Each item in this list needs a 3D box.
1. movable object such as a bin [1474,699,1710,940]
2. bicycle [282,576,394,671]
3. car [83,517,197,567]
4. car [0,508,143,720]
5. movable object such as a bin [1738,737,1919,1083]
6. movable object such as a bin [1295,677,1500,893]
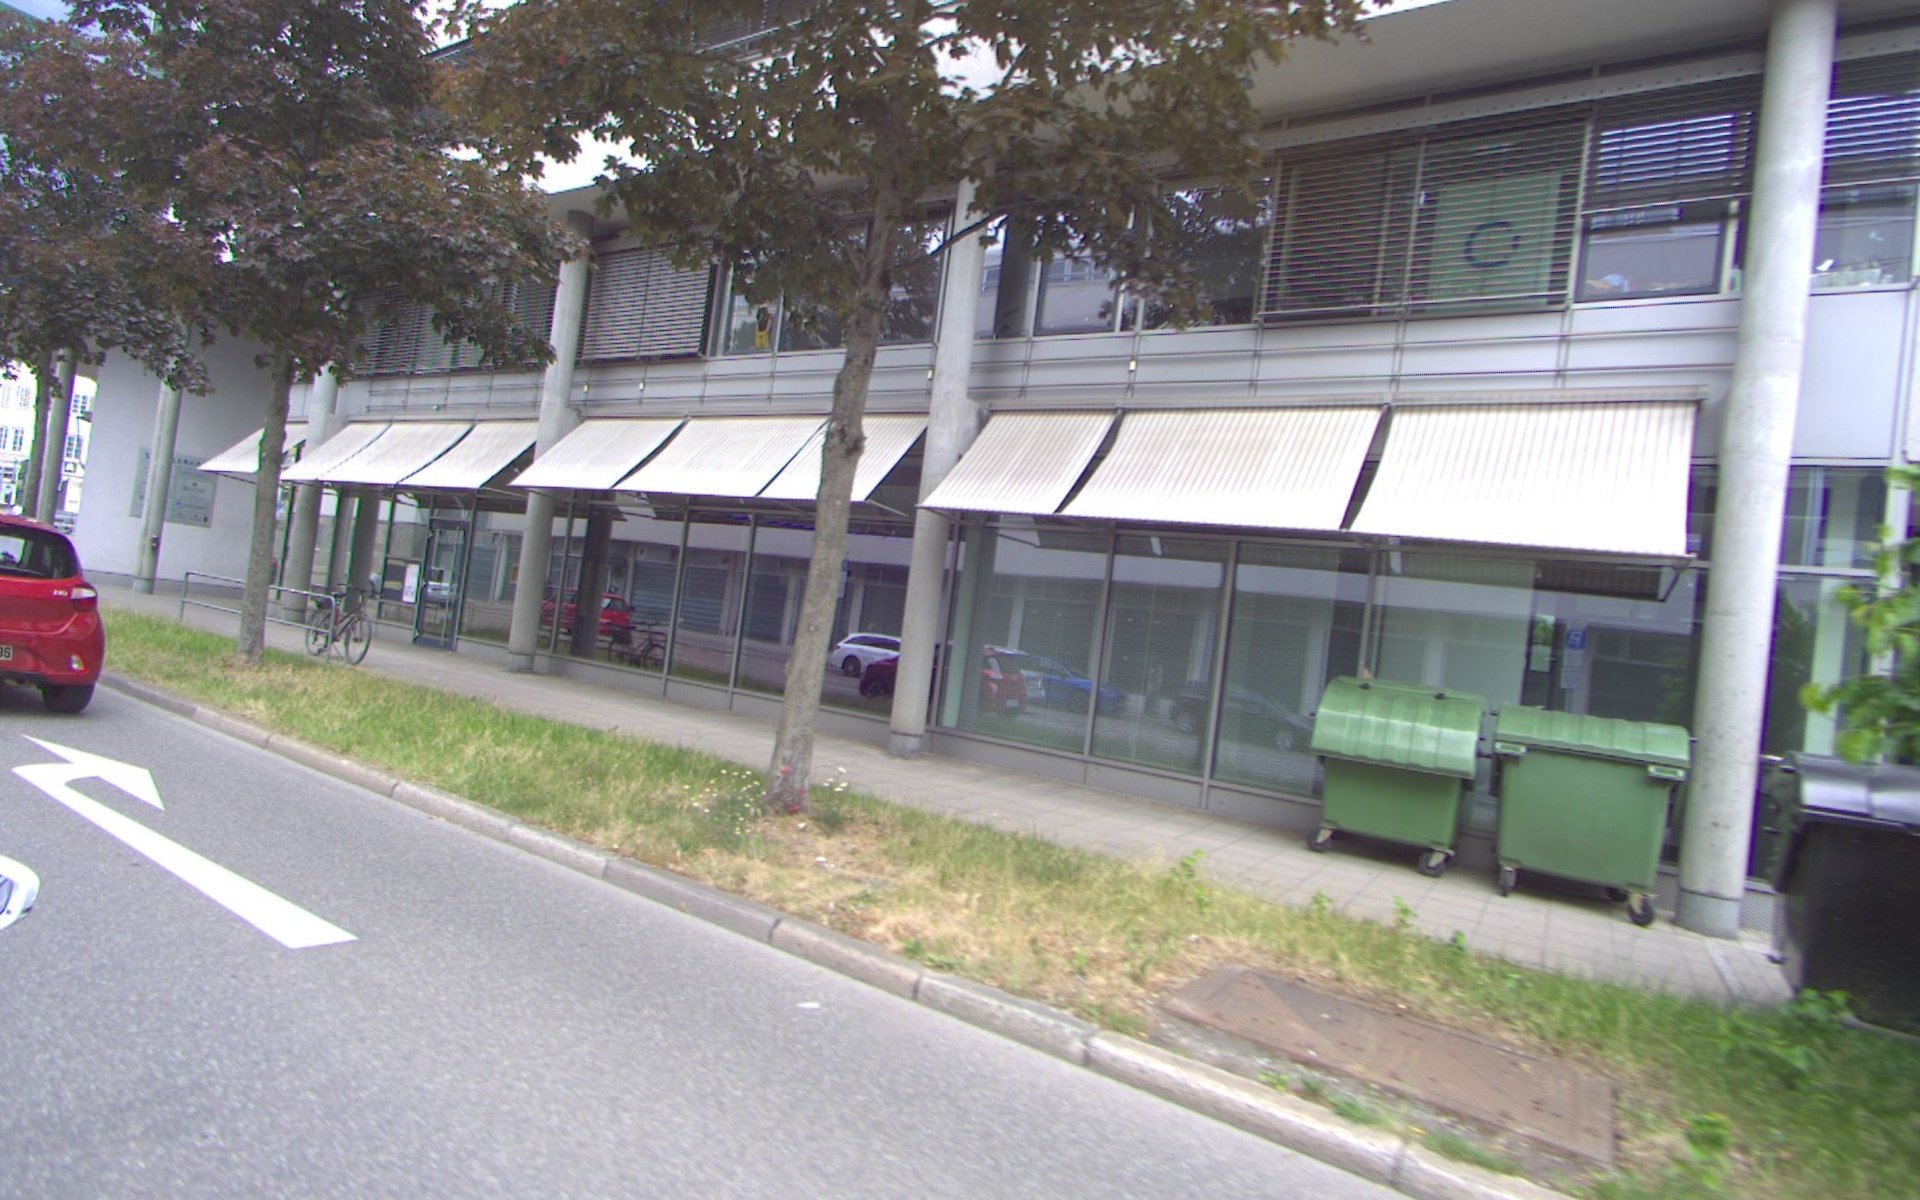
[{"bbox_3d":[4.846,1.604,7.806,1.311,1.483,1.123,7,0,31],"label":"movable object such as a bin"},{"bbox_3d":[-8.868,0.317,14.321,1.993,1.098,0.362,6,-2,31],"label":"bicycle"},{"bbox_3d":[-38.440,-2.685,47.205,1.903,1.689,3.782,6,-2,43],"label":"car"},{"bbox_3d":[-8.533,-0.117,8.101,3.934,1.467,1.703,7,-4,32],"label":"car"},{"bbox_3d":[4.954,1.560,5.051,1.389,1.483,1.129,7,0,31],"label":"movable object such as a bin"},{"bbox_3d":[3.708,1.481,8.499,1.311,1.483,1.099,7,0,31],"label":"movable object such as a bin"}]
